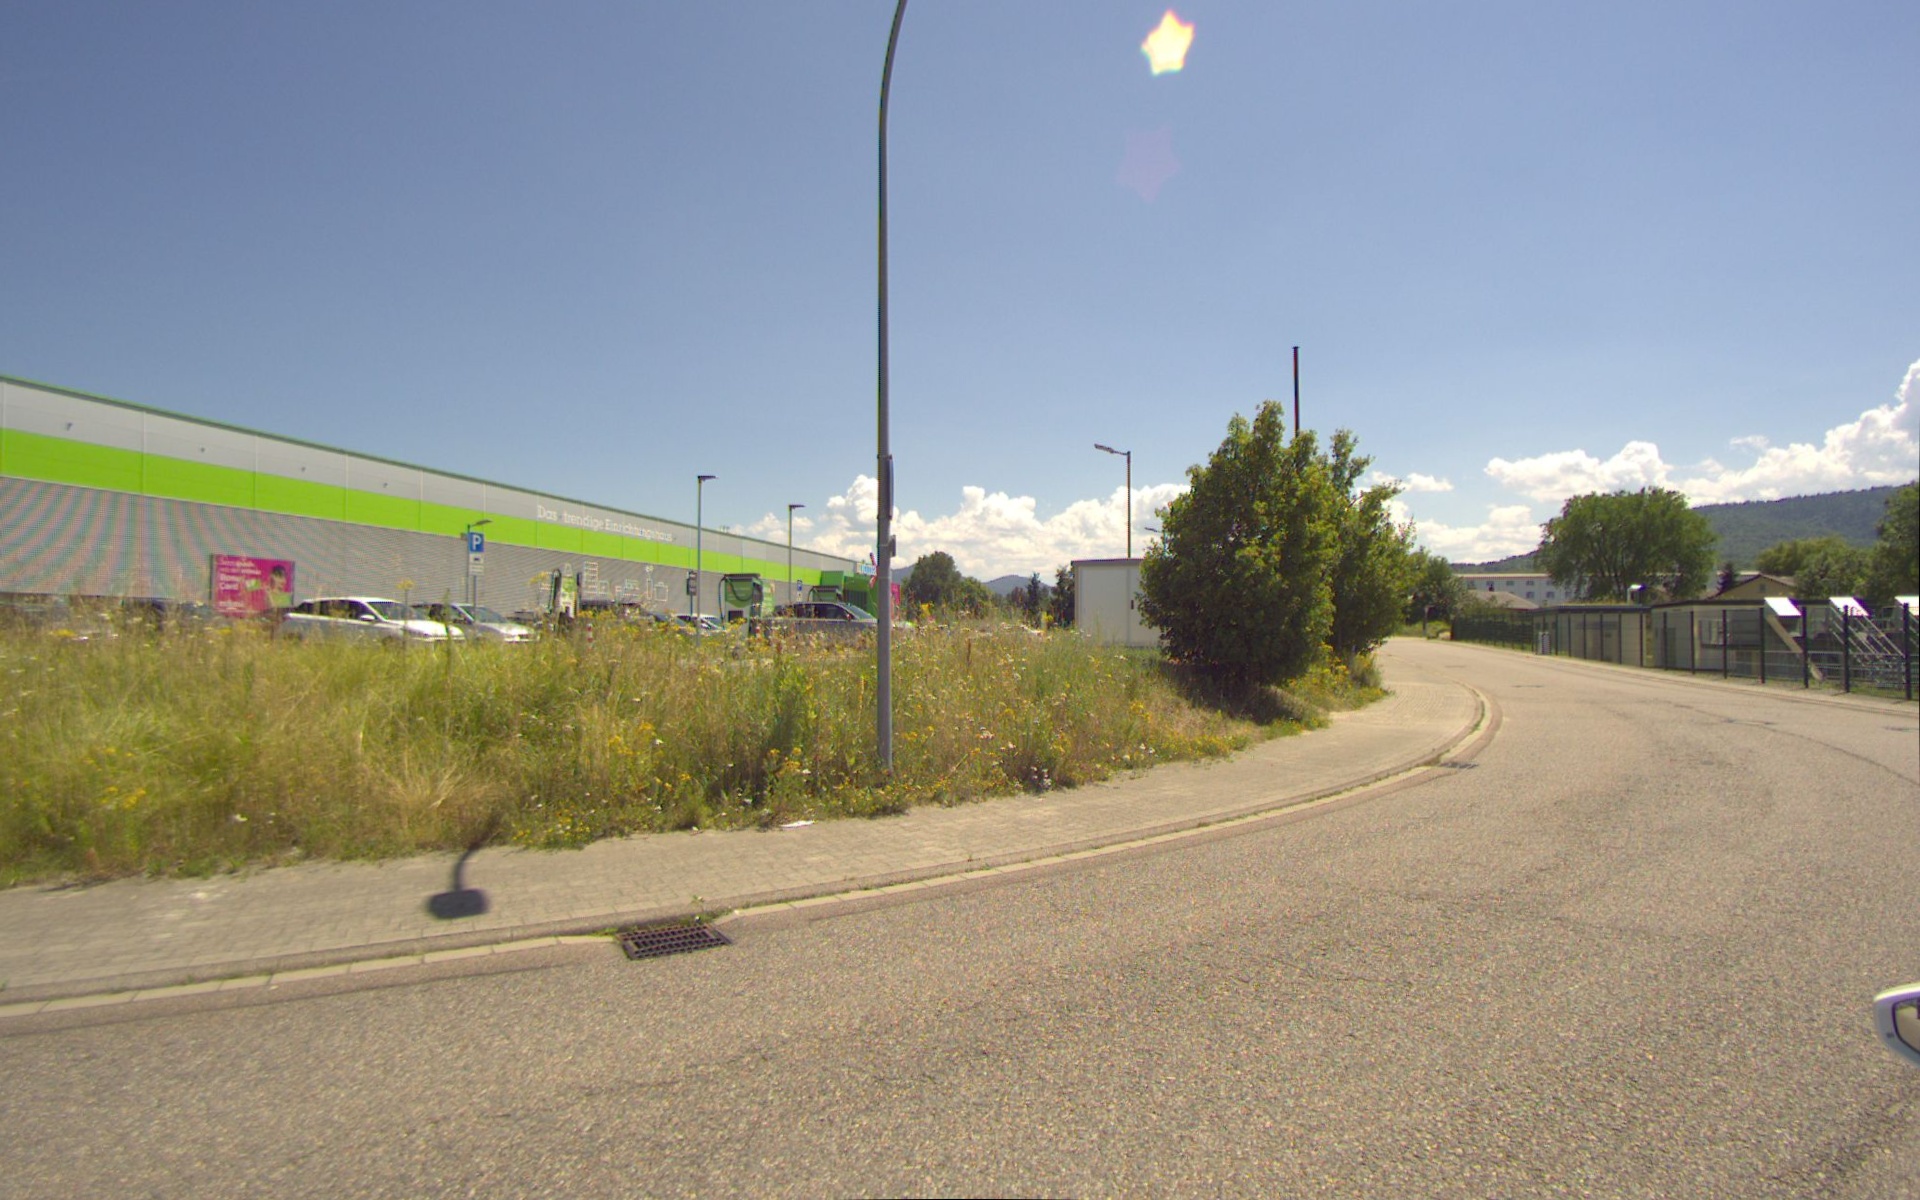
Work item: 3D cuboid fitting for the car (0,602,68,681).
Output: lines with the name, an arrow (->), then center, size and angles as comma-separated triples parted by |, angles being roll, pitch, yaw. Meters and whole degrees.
car -> -23.652, 0.970, 23.643 | 3.919, 1.800, 2.001 | 0, -1, 12

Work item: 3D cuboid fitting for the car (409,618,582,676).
car -> -11.739, 1.174, 25.455 | 3.721, 1.417, 1.643 | 0, -1, 12

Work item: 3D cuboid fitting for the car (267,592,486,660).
car -> -13.060, 0.582, 22.575 | 3.919, 1.431, 2.001 | -1, -1, 12

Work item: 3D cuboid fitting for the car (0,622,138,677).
car -> -23.271, 1.236, 25.572 | 3.919, 1.342, 1.492 | -1, -1, 12

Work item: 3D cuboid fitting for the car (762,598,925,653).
car -> -3.643, 0.818, 31.802 | 4.740, 1.680, 2.001 | -1, -1, 12

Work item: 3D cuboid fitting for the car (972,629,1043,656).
car -> 2.833, 2.531, 59.587 | 3.919, 1.565, 2.001 | 0, -1, 12
